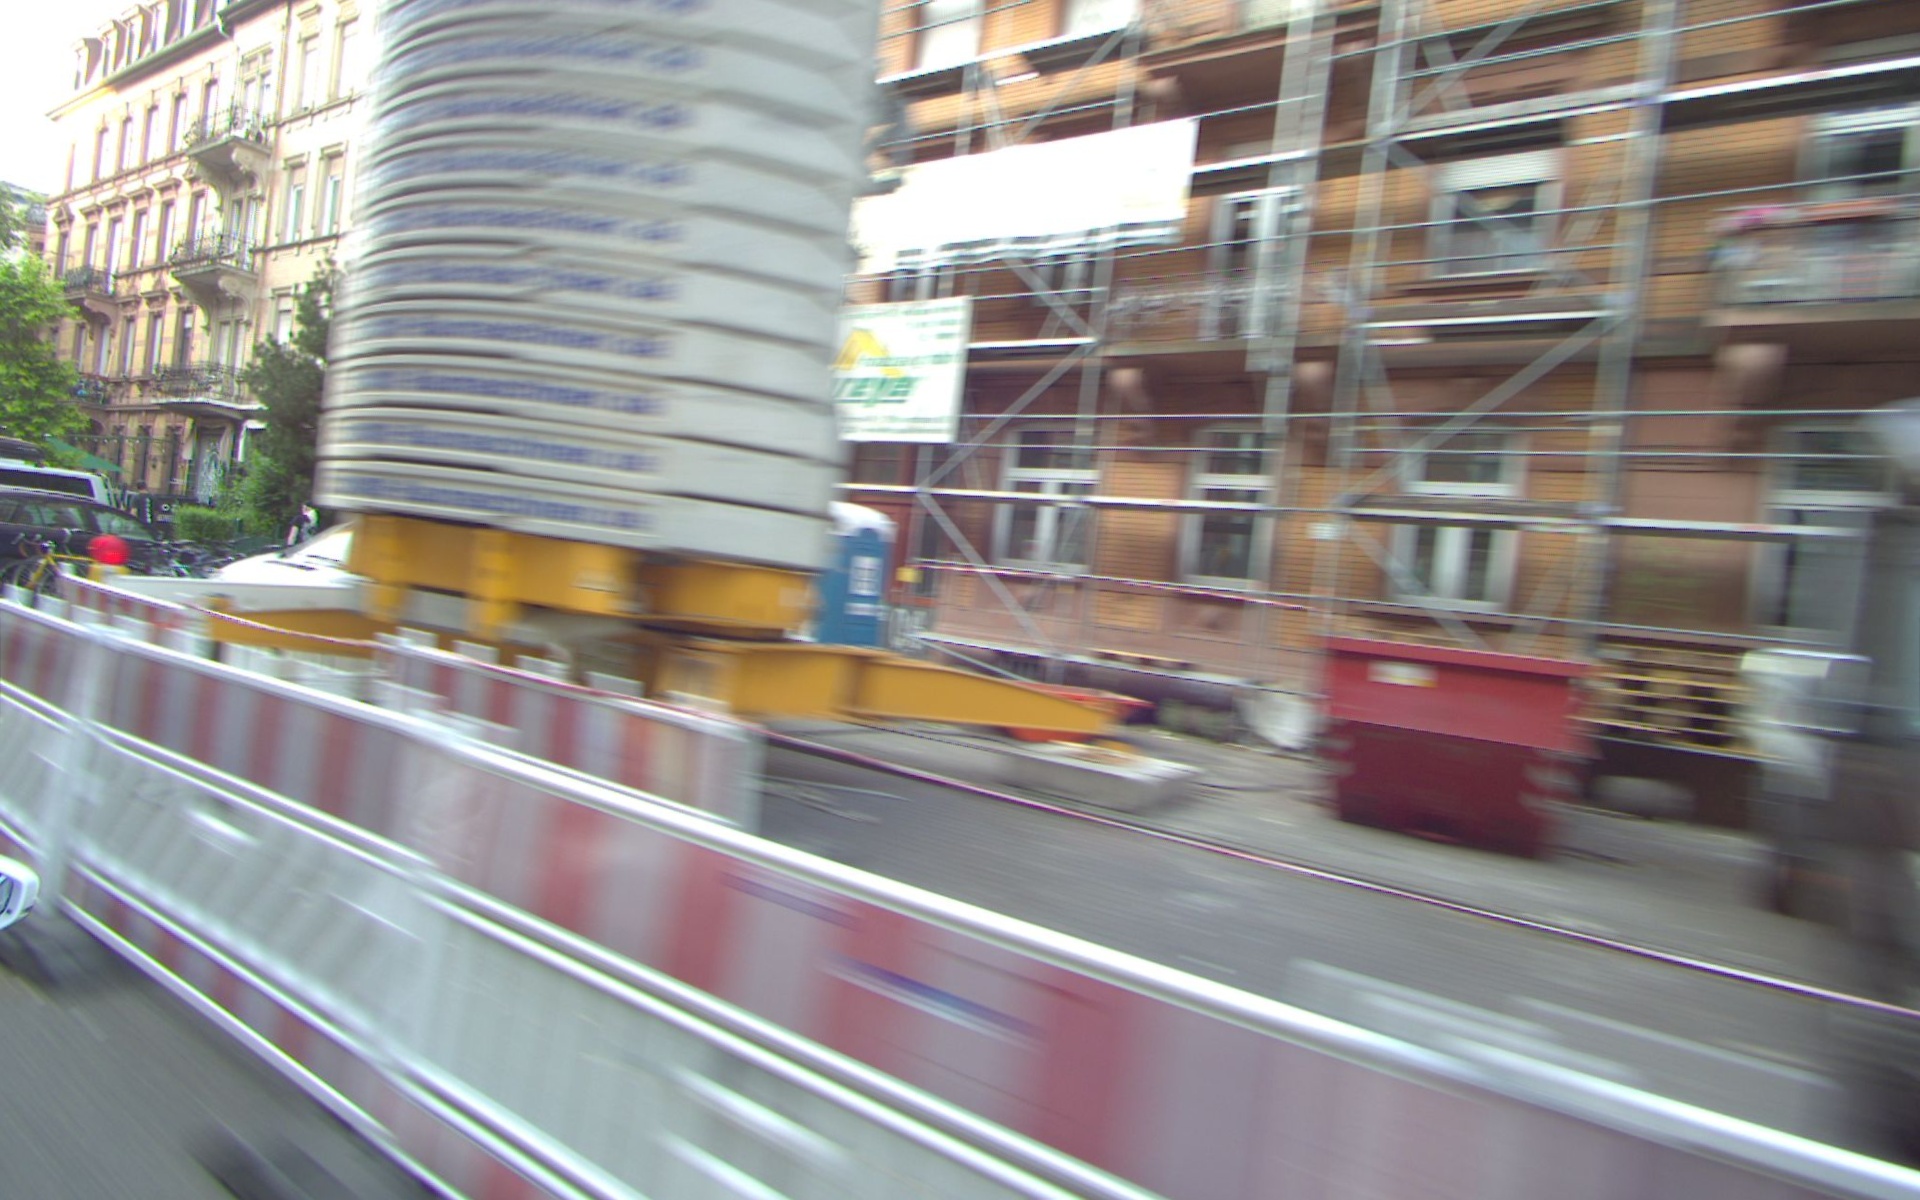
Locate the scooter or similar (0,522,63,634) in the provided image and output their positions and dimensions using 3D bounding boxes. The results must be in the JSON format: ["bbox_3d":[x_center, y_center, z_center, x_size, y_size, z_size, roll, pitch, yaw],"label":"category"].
[{"bbox_3d":[-10.990,-0.301,11.215,1.456,1.165,0.656,7,2,9],"label":"scooter or similar"}]

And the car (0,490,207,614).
[{"bbox_3d":[-12.766,-0.691,13.629,1.812,1.535,3.869,7,0,8],"label":"car"}]

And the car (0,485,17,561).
[{"bbox_3d":[-21.645,-1.714,19.905,1.850,1.611,4.163,7,2,3],"label":"car"}]

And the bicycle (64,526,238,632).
[{"bbox_3d":[-10.615,-0.278,13.227,1.781,1.151,0.496,7,2,-1],"label":"bicycle"}]

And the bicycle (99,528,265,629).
[{"bbox_3d":[-10.630,-0.291,13.773,1.781,1.151,0.496,7,2,-1],"label":"bicycle"}]

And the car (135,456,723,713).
[{"bbox_3d":[-5.163,-0.088,10.680,1.868,1.981,5.174,8,2,32],"label":"car"}]

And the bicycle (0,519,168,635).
[{"bbox_3d":[-10.579,-0.281,12.018,1.780,1.151,0.496,7,2,2],"label":"bicycle"}]

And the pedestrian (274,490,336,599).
[{"bbox_3d":[-11.208,-0.948,17.210,0.681,1.773,0.816,3,3,-43],"label":"pedestrian"}]

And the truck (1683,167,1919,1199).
[{"bbox_3d":[5.195,0.736,4.873,2.486,3.111,6.485,6,-2,36],"label":"truck"}]

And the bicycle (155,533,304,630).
[{"bbox_3d":[-10.471,-0.269,14.437,1.780,1.151,0.496,7,2,6],"label":"bicycle"}]

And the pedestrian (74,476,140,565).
[{"bbox_3d":[-17.674,-1.637,20.849,0.643,1.700,0.626,6,-1,17],"label":"pedestrian"}]

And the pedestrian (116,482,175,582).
[{"bbox_3d":[-17.565,-1.467,21.700,0.645,2.037,0.624,6,-1,32],"label":"pedestrian"}]

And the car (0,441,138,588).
[{"bbox_3d":[-17.094,-1.579,16.881,1.962,2.392,4.940,7,0,7],"label":"car"}]

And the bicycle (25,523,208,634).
[{"bbox_3d":[-10.590,-0.267,12.651,1.781,1.151,0.496,7,2,-1],"label":"bicycle"}]
